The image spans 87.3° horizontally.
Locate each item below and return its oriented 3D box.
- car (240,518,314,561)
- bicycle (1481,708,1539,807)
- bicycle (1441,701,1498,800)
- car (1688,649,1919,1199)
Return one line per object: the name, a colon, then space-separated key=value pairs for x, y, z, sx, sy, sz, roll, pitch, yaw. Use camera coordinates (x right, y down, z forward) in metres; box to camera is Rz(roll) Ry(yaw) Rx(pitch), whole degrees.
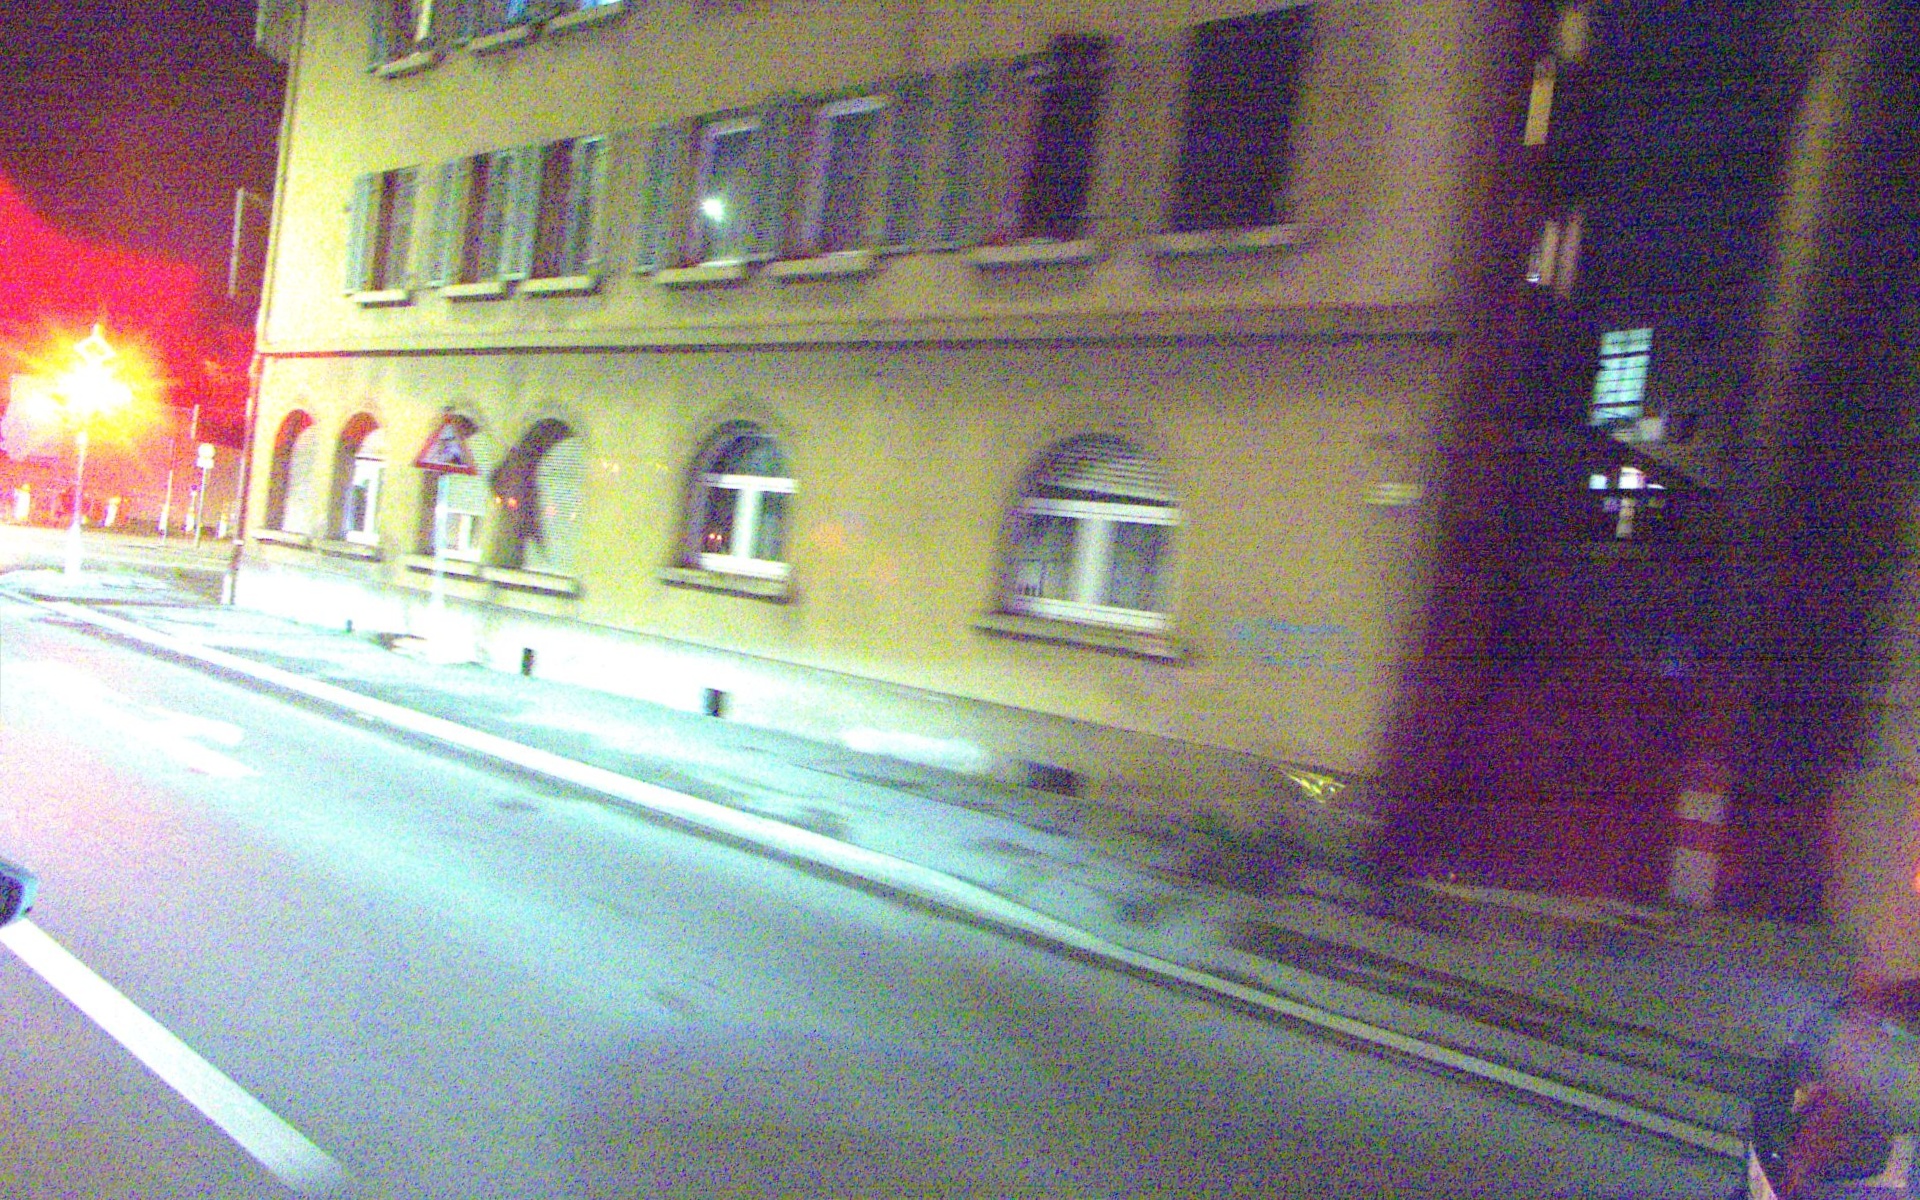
car: x=-32.231 y=-2.823 z=47.557 sx=1.707 sy=1.631 sz=3.612 roll=7 pitch=-1 yaw=-16
bicycle: x=6.700 y=1.875 z=12.226 sx=0.380 sy=1.074 sz=1.586 roll=6 pitch=-1 yaw=34
bicycle: x=6.167 y=1.785 z=12.148 sx=0.350 sy=1.074 sz=1.418 roll=6 pitch=-1 yaw=34
car: x=3.507 y=1.128 z=1.080 sx=4.159 sy=1.629 sz=1.673 roll=6 pitch=-1 yaw=31
